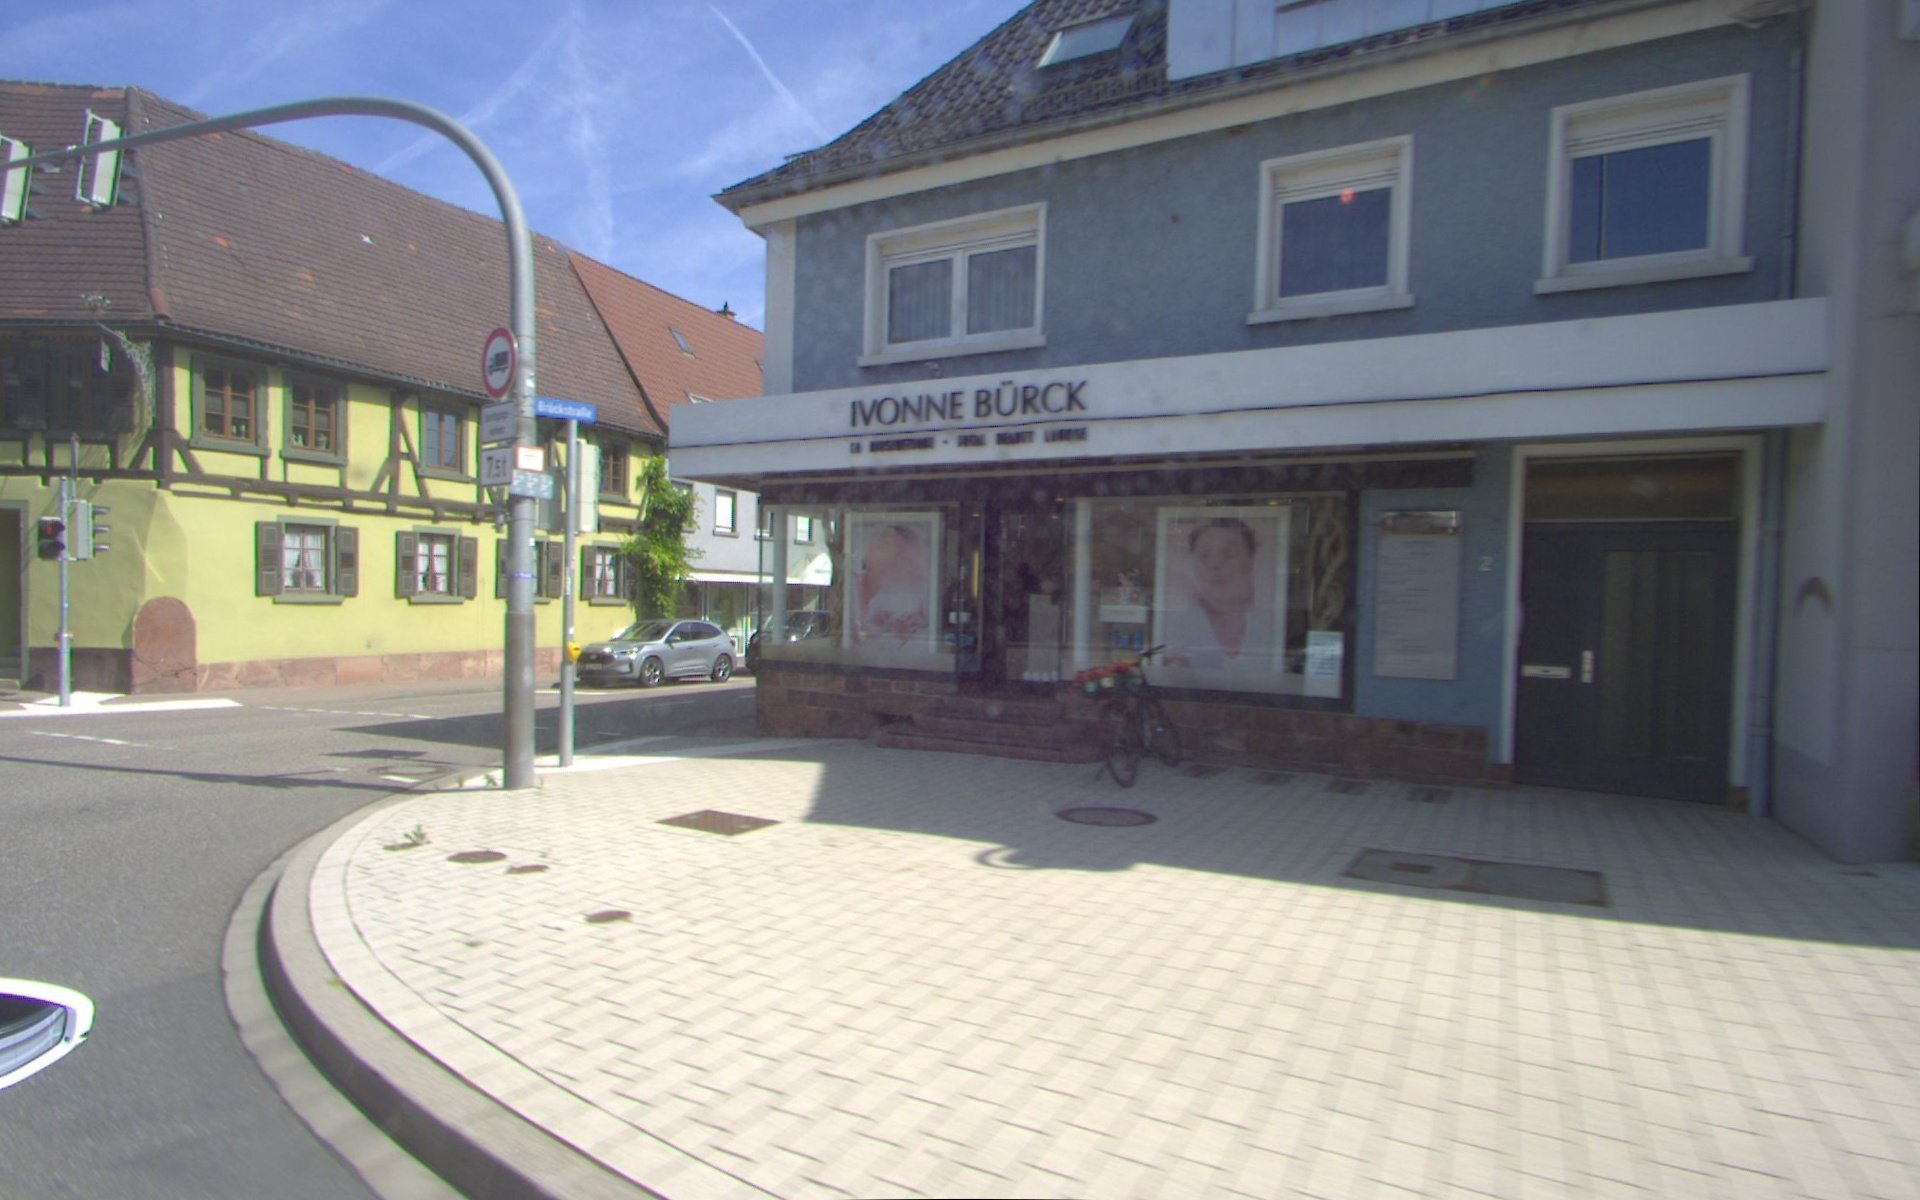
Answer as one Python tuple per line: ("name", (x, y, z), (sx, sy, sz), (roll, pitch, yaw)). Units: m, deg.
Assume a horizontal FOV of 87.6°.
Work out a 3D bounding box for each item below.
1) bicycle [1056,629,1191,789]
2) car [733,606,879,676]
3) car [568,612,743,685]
("bicycle", (1.508, 0.905, 8.979), (0.541, 1.251, 1.800), (1, 0, 32))
("car", (-4.648, 1.216, 31.158), (2.129, 1.948, 5.153), (1, -1, 23))
("car", (-7.382, 1.158, 24.733), (1.731, 1.630, 4.418), (-1, -2, 23))
